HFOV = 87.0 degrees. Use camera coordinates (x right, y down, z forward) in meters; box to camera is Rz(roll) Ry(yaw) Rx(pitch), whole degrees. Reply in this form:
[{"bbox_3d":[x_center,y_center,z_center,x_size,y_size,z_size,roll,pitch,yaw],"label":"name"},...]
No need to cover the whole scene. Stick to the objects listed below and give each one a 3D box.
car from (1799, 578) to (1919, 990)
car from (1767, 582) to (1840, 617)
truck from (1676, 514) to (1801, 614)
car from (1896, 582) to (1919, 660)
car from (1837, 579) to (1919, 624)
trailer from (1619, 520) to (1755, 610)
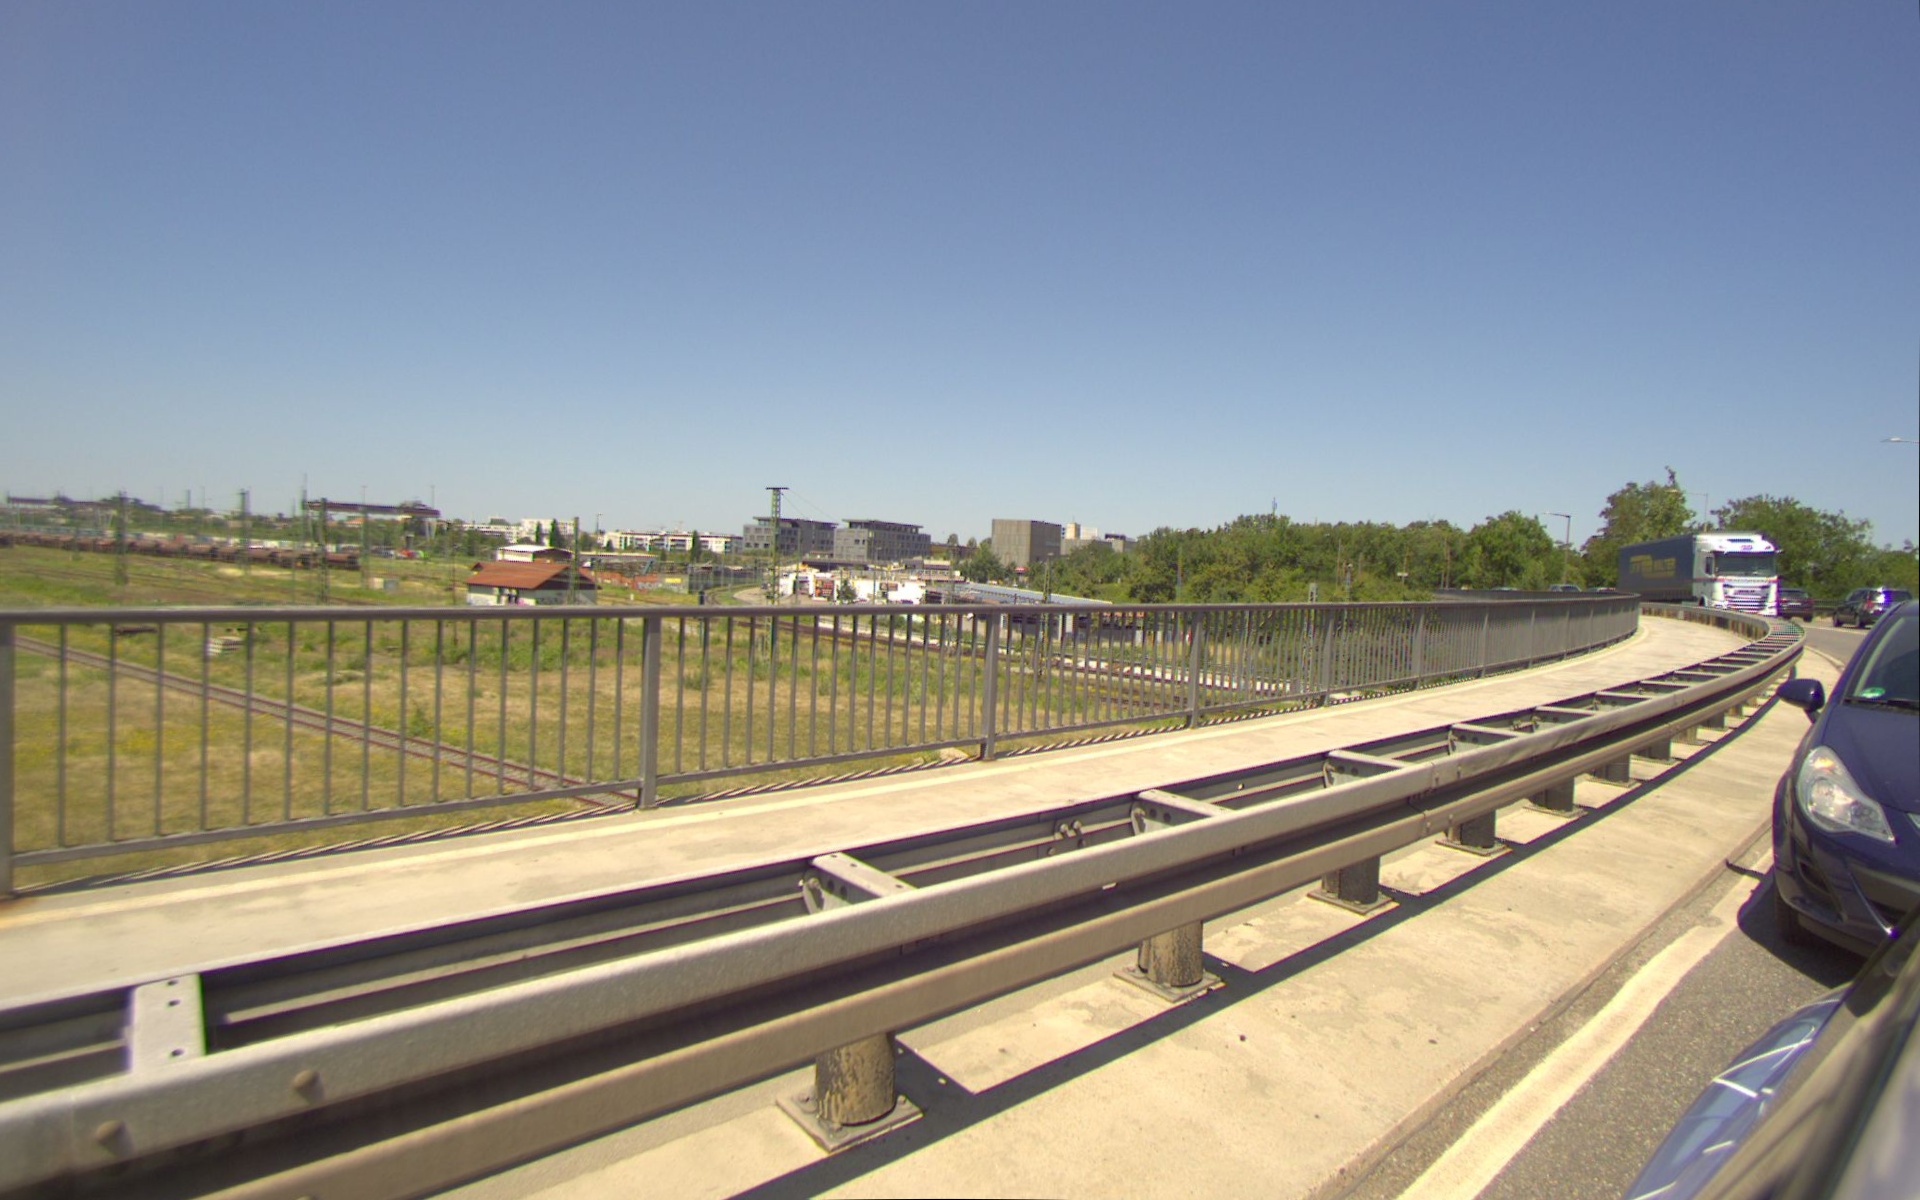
[{"bbox_3d":[5.125,0.641,4.632,1.641,1.457,3.936,1,1,45],"label":"car"},{"bbox_3d":[41.937,-0.064,50.416,1.789,1.661,4.262,1,1,26],"label":"car"},{"bbox_3d":[36.094,-1.624,47.208,2.663,4.281,6.794,0,1,20],"label":"truck"},{"bbox_3d":[19.287,0.396,19.189,1.785,1.473,4.463,0,0,37],"label":"car"},{"bbox_3d":[36.543,0.024,40.071,1.695,1.646,4.215,-1,1,26],"label":"car"},{"bbox_3d":[38.840,-1.813,54.663,2.669,4.287,12.631,0,1,20],"label":"trailer"}]
